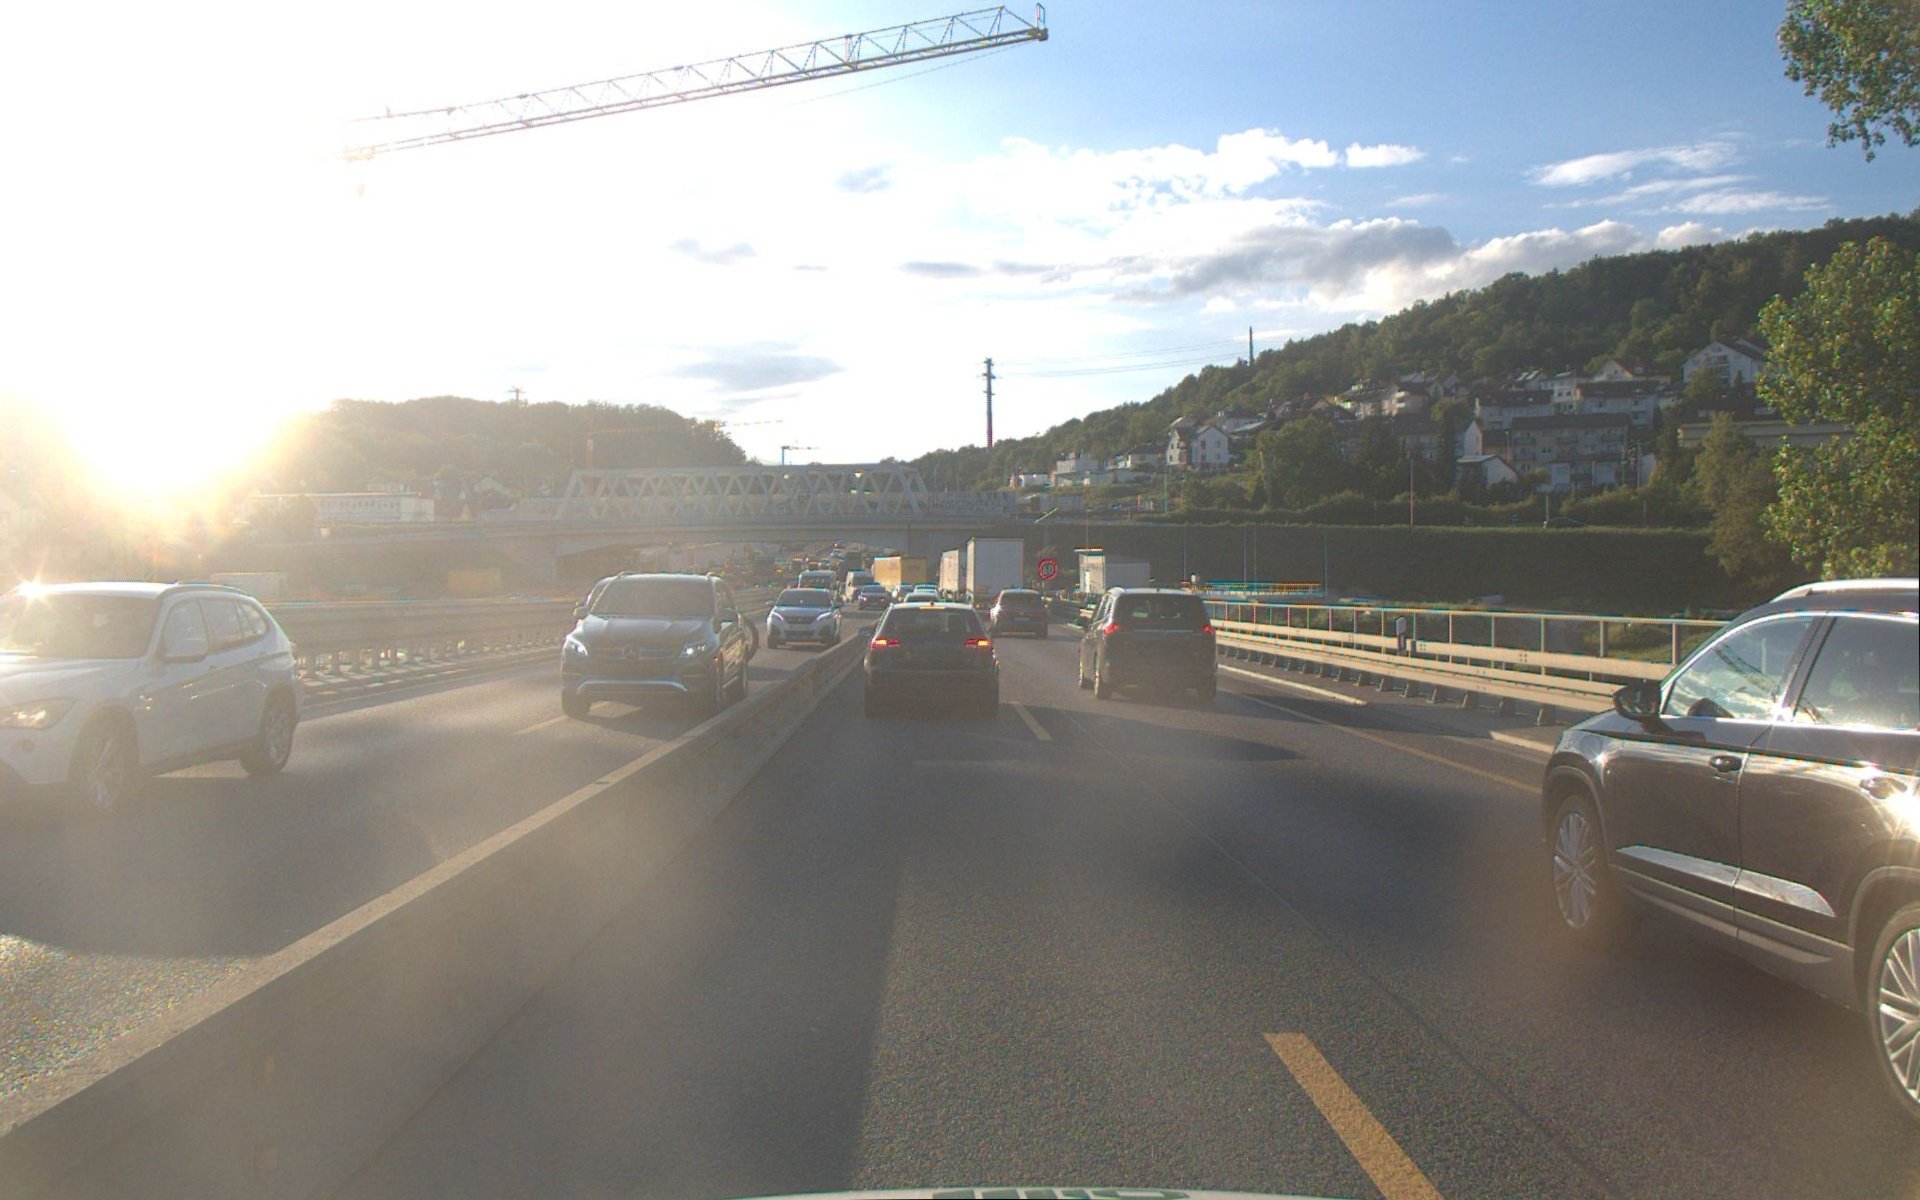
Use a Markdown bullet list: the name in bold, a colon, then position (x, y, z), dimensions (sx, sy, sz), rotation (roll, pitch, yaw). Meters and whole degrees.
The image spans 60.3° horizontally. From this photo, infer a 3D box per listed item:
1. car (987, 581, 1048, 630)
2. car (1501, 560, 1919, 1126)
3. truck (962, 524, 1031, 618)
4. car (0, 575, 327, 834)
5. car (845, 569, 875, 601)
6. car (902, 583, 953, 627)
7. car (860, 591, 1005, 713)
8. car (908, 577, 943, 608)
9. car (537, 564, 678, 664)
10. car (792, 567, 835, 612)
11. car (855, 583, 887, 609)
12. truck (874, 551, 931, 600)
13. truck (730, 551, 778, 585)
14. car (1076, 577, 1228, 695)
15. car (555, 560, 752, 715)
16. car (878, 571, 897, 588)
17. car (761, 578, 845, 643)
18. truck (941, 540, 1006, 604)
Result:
- **car**: position (1.967, 0.160, 57.322), dimensions (1.735, 1.579, 3.998), rotation (2, 1, -3)
- **car**: position (3.654, 0.693, 5.699), dimensions (1.837, 1.627, 4.964), rotation (0, 0, -2)
- **truck**: position (1.830, -1.493, 88.472), dimensions (3.316, 4.577, 15.267), rotation (1, 1, 0)
- **car**: position (-6.455, 0.614, 12.245), dimensions (1.889, 1.573, 4.288), rotation (1, 0, -1)
- **car**: position (-8.107, -1.245, 133.941), dimensions (2.034, 2.500, 6.257), rotation (1, 1, -7)
- **car**: position (-1.239, 0.141, 61.172), dimensions (1.730, 1.512, 3.998), rotation (1, 1, -3)
- **car**: position (-0.405, 0.621, 21.944), dimensions (1.734, 1.414, 3.998), rotation (1, 1, -2)
- **car**: position (-1.772, -0.399, 83.896), dimensions (1.729, 1.512, 3.999), rotation (1, 1, -2)
- **car**: position (-7.428, 0.264, 35.277), dimensions (1.953, 1.888, 4.282), rotation (3, 0, 0)
- **car**: position (-7.918, -0.586, 89.937), dimensions (1.953, 2.364, 5.932), rotation (1, 1, -2)
- **car**: position (-5.638, -0.281, 104.297), dimensions (1.954, 1.556, 5.777), rotation (0, 1, -4)
- **truck**: position (-5.753, -2.530, 163.427), dimensions (3.819, 4.576, 13.819), rotation (1, 2, -9)
- **truck**: position (-24.895, -3.889, 199.335), dimensions (2.892, 3.958, 10.186), rotation (0, 1, -24)
- **car**: position (2.909, 0.489, 25.946), dimensions (1.778, 1.661, 4.410), rotation (1, 1, -1)
- **car**: position (-3.858, 0.416, 21.590), dimensions (1.890, 1.784, 4.670), rotation (1, 0, -3)
- **car**: position (-7.151, -2.031, 163.285), dimensions (1.757, 1.566, 4.364), rotation (0, 1, -4)
- **car**: position (-4.257, 0.260, 45.397), dimensions (1.800, 1.668, 4.001), rotation (-1, 0, 2)
- **truck**: position (0.893, -2.097, 126.648), dimensions (3.813, 4.577, 15.256), rotation (1, 1, -4)
